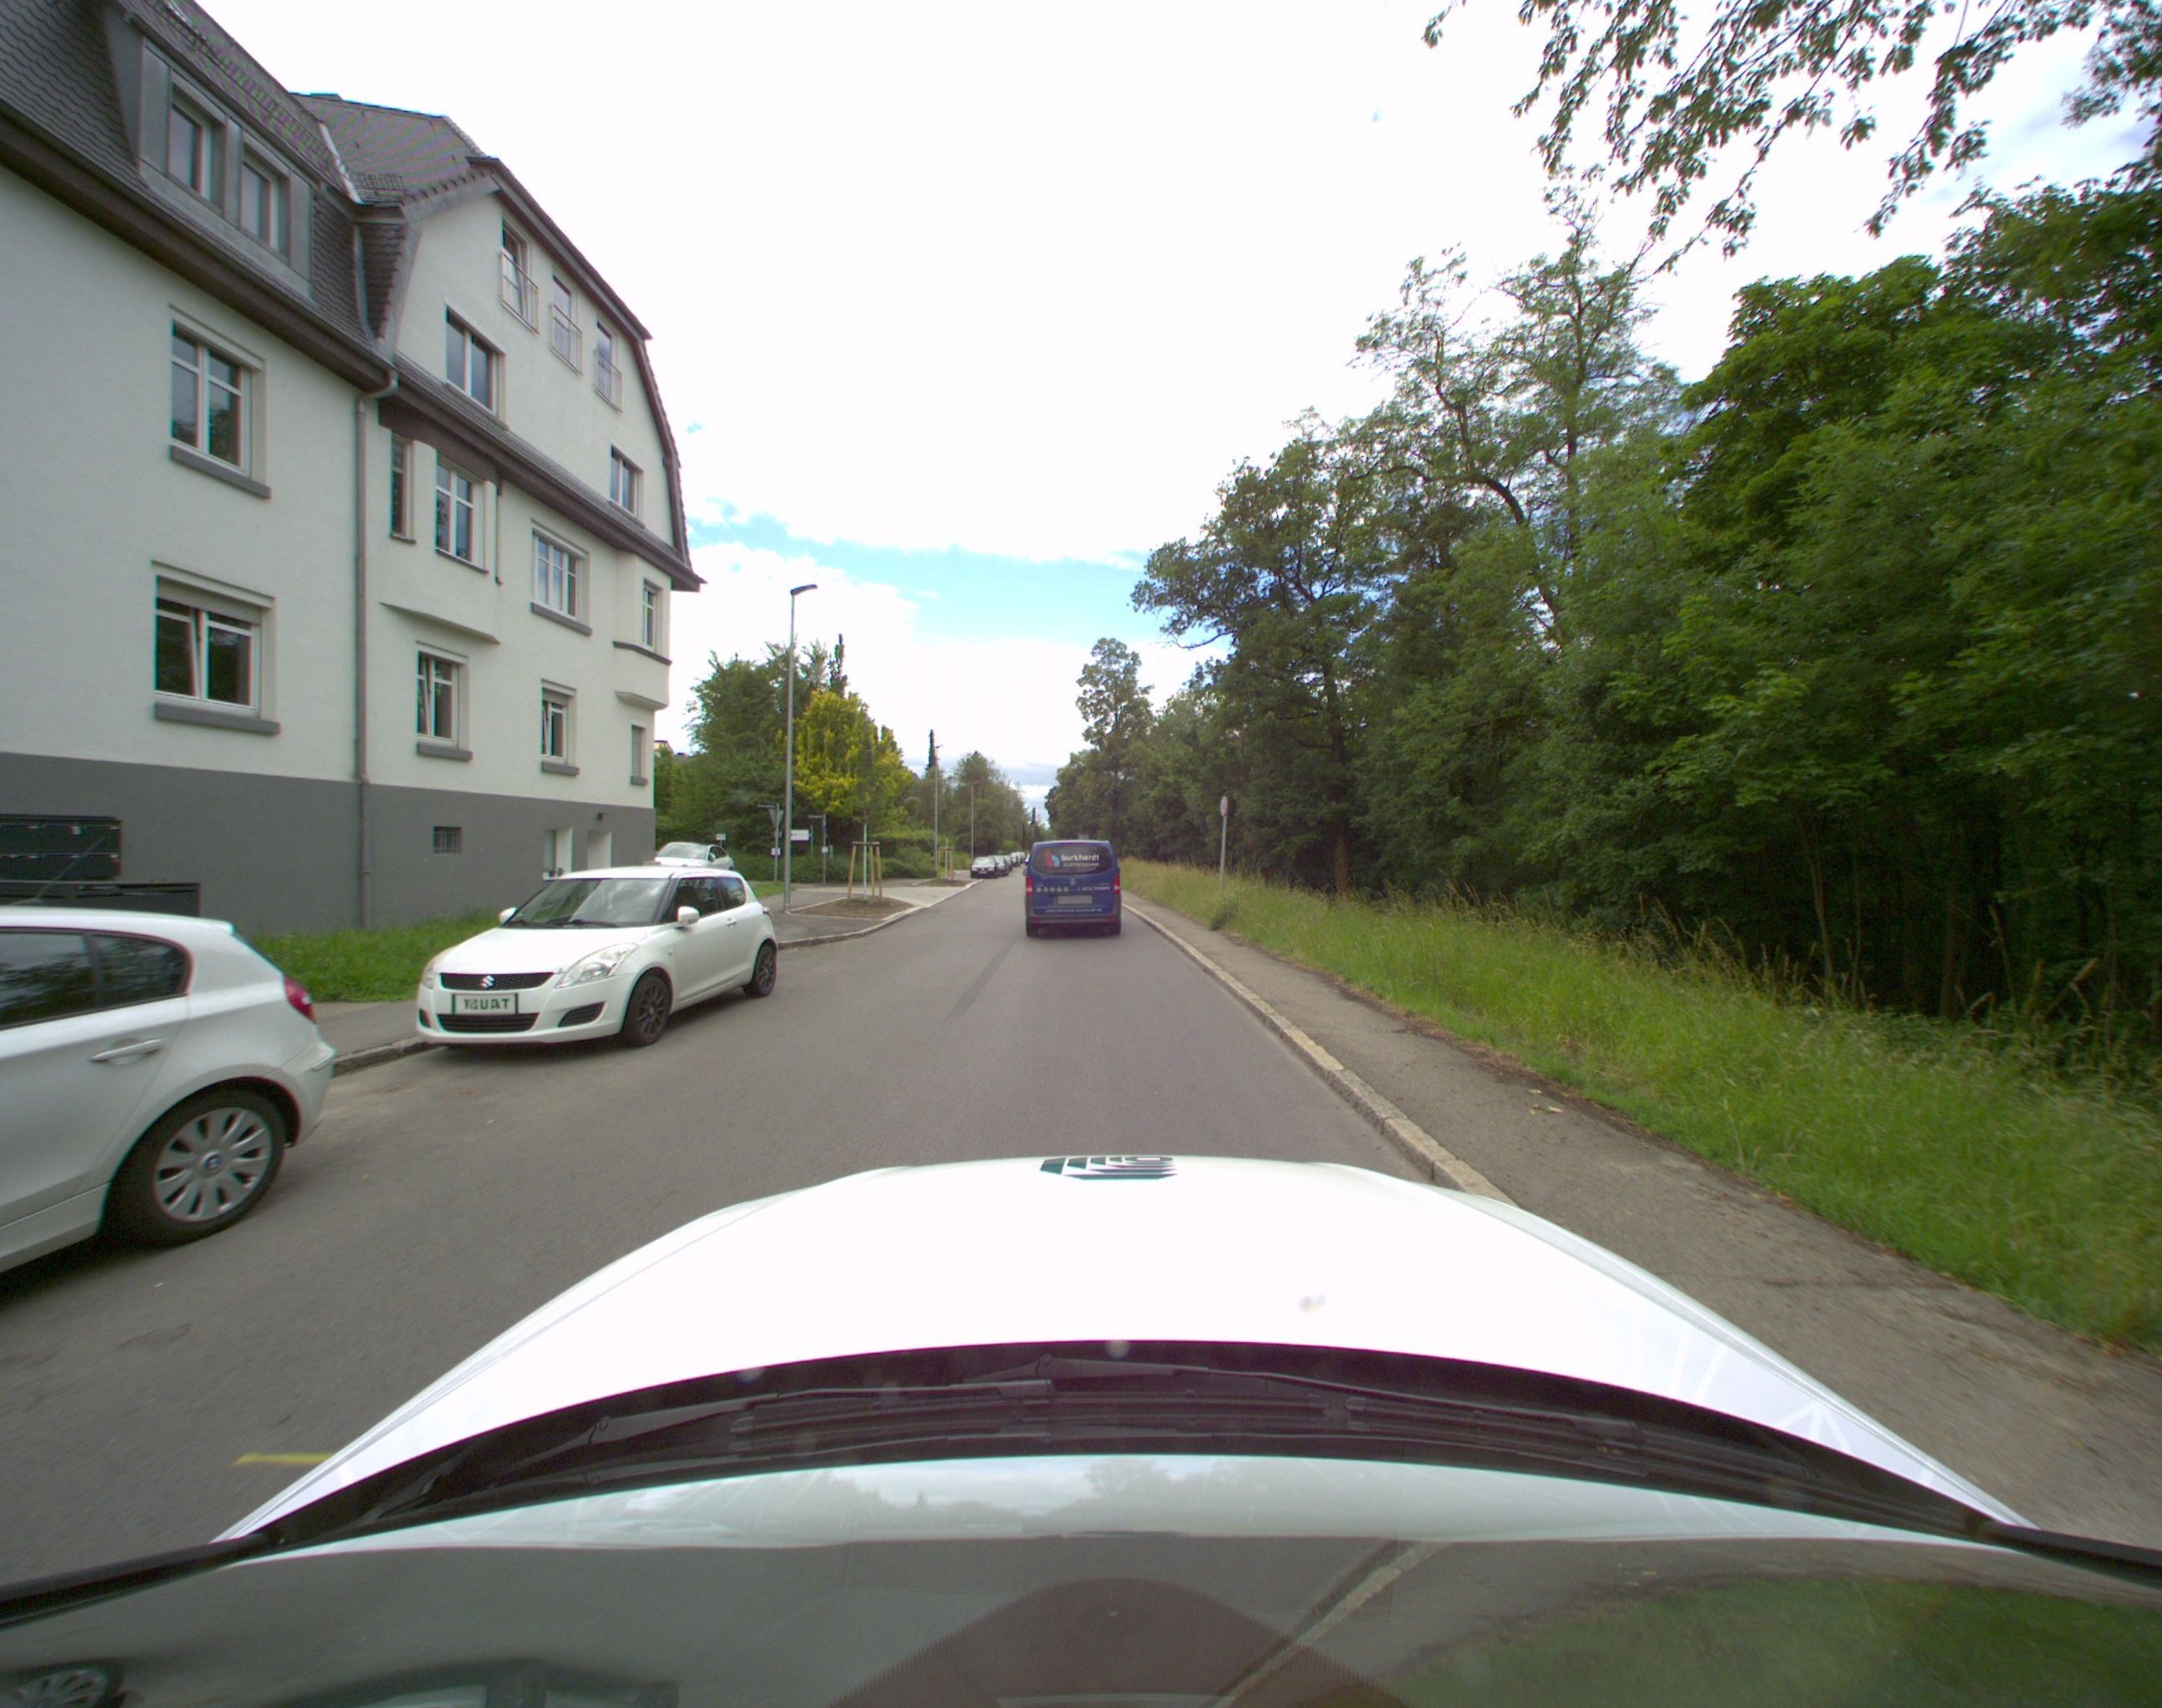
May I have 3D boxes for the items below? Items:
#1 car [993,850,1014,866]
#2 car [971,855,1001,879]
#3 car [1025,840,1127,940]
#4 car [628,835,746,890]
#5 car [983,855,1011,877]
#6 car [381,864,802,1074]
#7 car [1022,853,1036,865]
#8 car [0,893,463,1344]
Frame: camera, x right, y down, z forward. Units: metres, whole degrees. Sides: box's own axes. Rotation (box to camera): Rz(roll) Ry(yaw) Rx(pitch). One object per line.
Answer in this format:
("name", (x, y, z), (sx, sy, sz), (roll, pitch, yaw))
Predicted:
("car", (-7.212, 0.351, 76.388), (1.774, 1.432, 5.098), (0, 1, -4))
("car", (-6.343, 0.822, 54.851), (1.679, 1.482, 4.688), (-1, 1, -3))
("car", (-0.200, 0.631, 17.063), (1.885, 1.844, 3.995), (0, 1, -4))
("car", (-12.290, 0.277, 25.774), (1.904, 1.533, 4.585), (3, -1, -7))
("car", (-6.159, 0.847, 59.836), (1.702, 1.482, 4.492), (-1, 1, -2))
("car", (-4.288, 0.865, 8.011), (1.637, 1.469, 4.070), (-2, 0, 0))
("car", (-6.994, 0.655, 109.534), (1.777, 1.426, 4.483), (0, 1, -4))
("car", (-4.407, 0.928, 2.236), (1.719, 1.390, 4.727), (-2, 0, 1))
